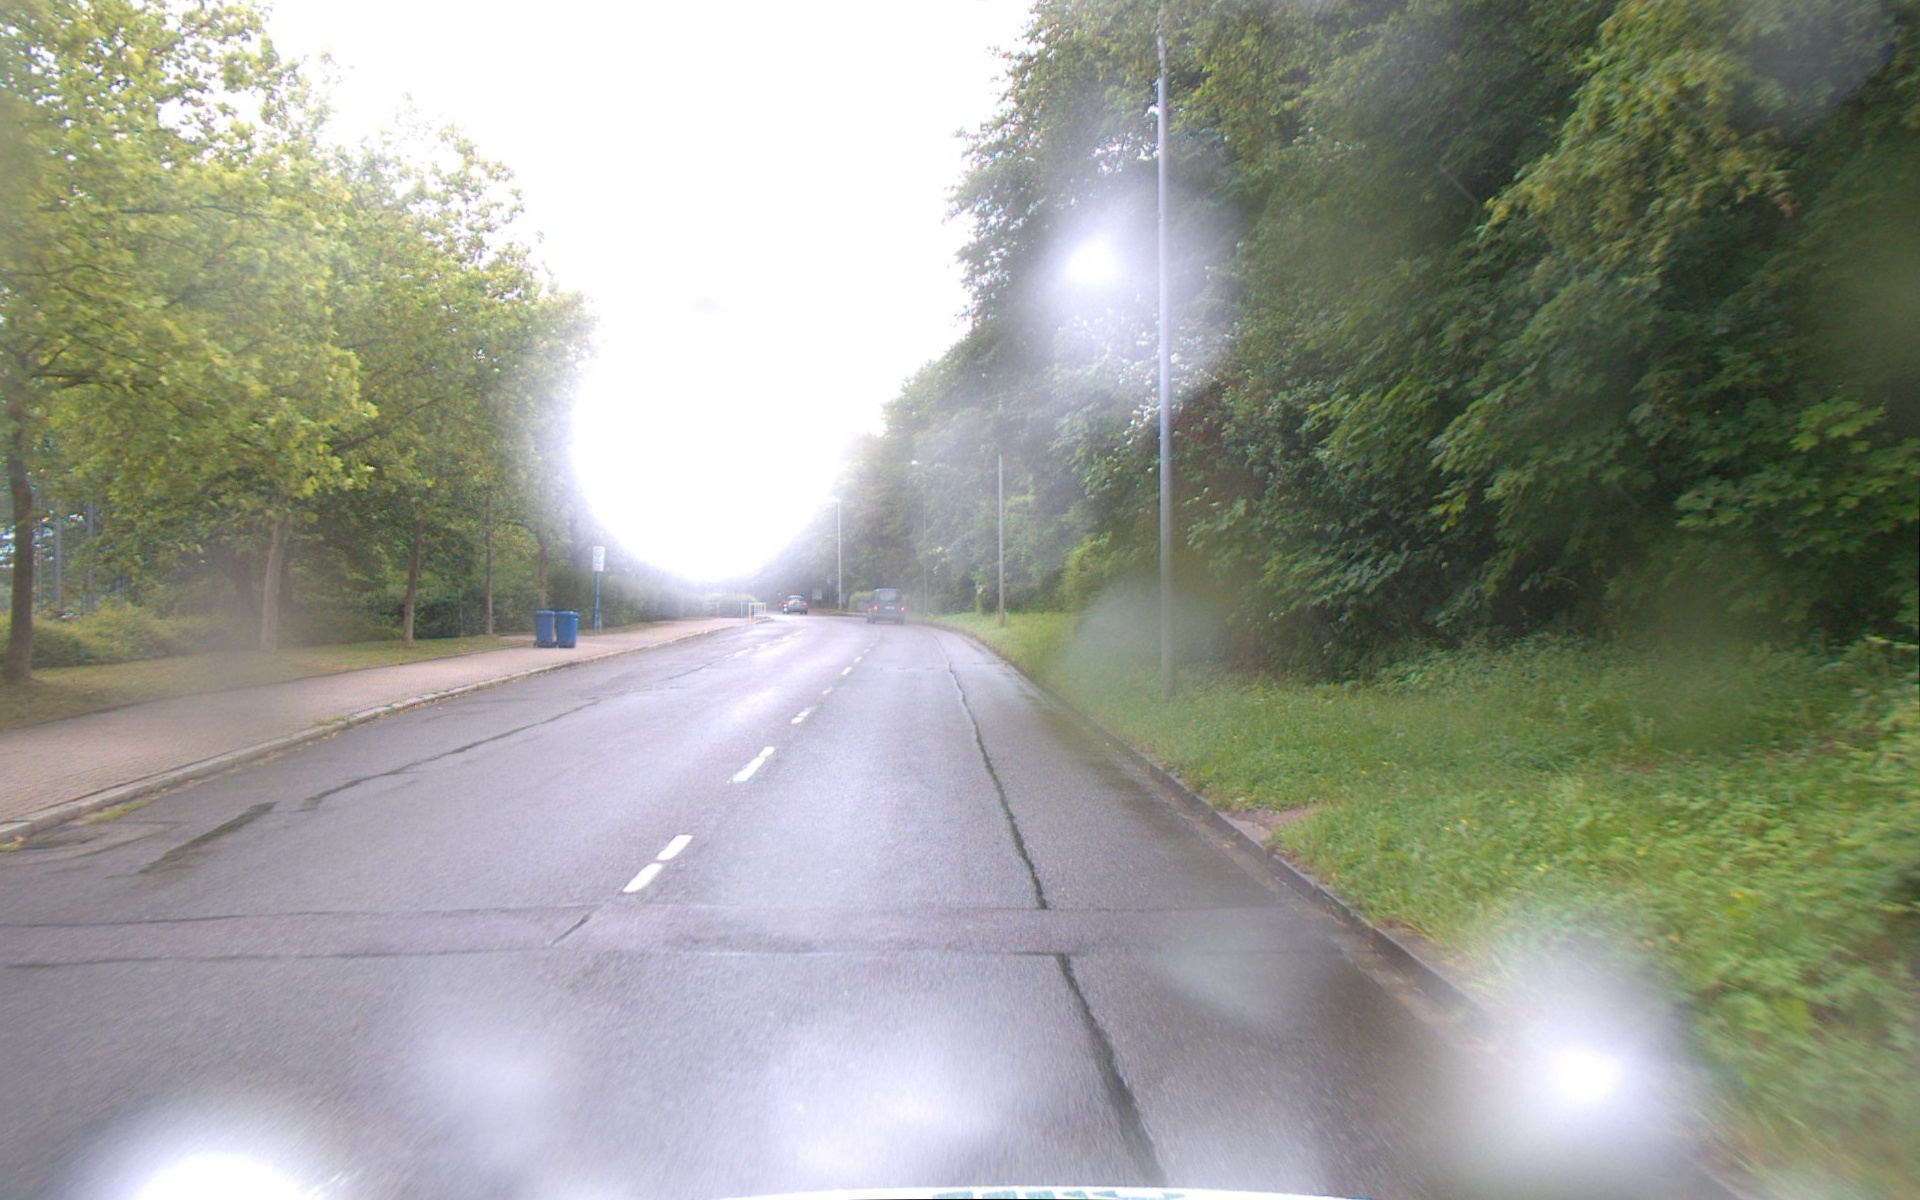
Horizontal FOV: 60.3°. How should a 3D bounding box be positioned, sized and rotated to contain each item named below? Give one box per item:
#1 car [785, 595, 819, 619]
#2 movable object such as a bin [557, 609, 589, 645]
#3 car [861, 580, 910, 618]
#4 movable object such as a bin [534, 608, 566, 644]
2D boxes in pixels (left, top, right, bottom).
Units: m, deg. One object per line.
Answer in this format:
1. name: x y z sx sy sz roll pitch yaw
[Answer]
1. car: -12.744 0.540 133.112 1.961 1.803 3.982 -1 1 -16
2. movable object such as a bin: -11.644 0.799 49.790 0.660 1.044 0.825 -3 1 -33
3. car: -3.944 -0.062 87.167 1.958 1.825 3.989 1 1 -12
4. movable object such as a bin: -12.249 0.779 49.416 0.660 1.044 0.825 -3 1 -33
